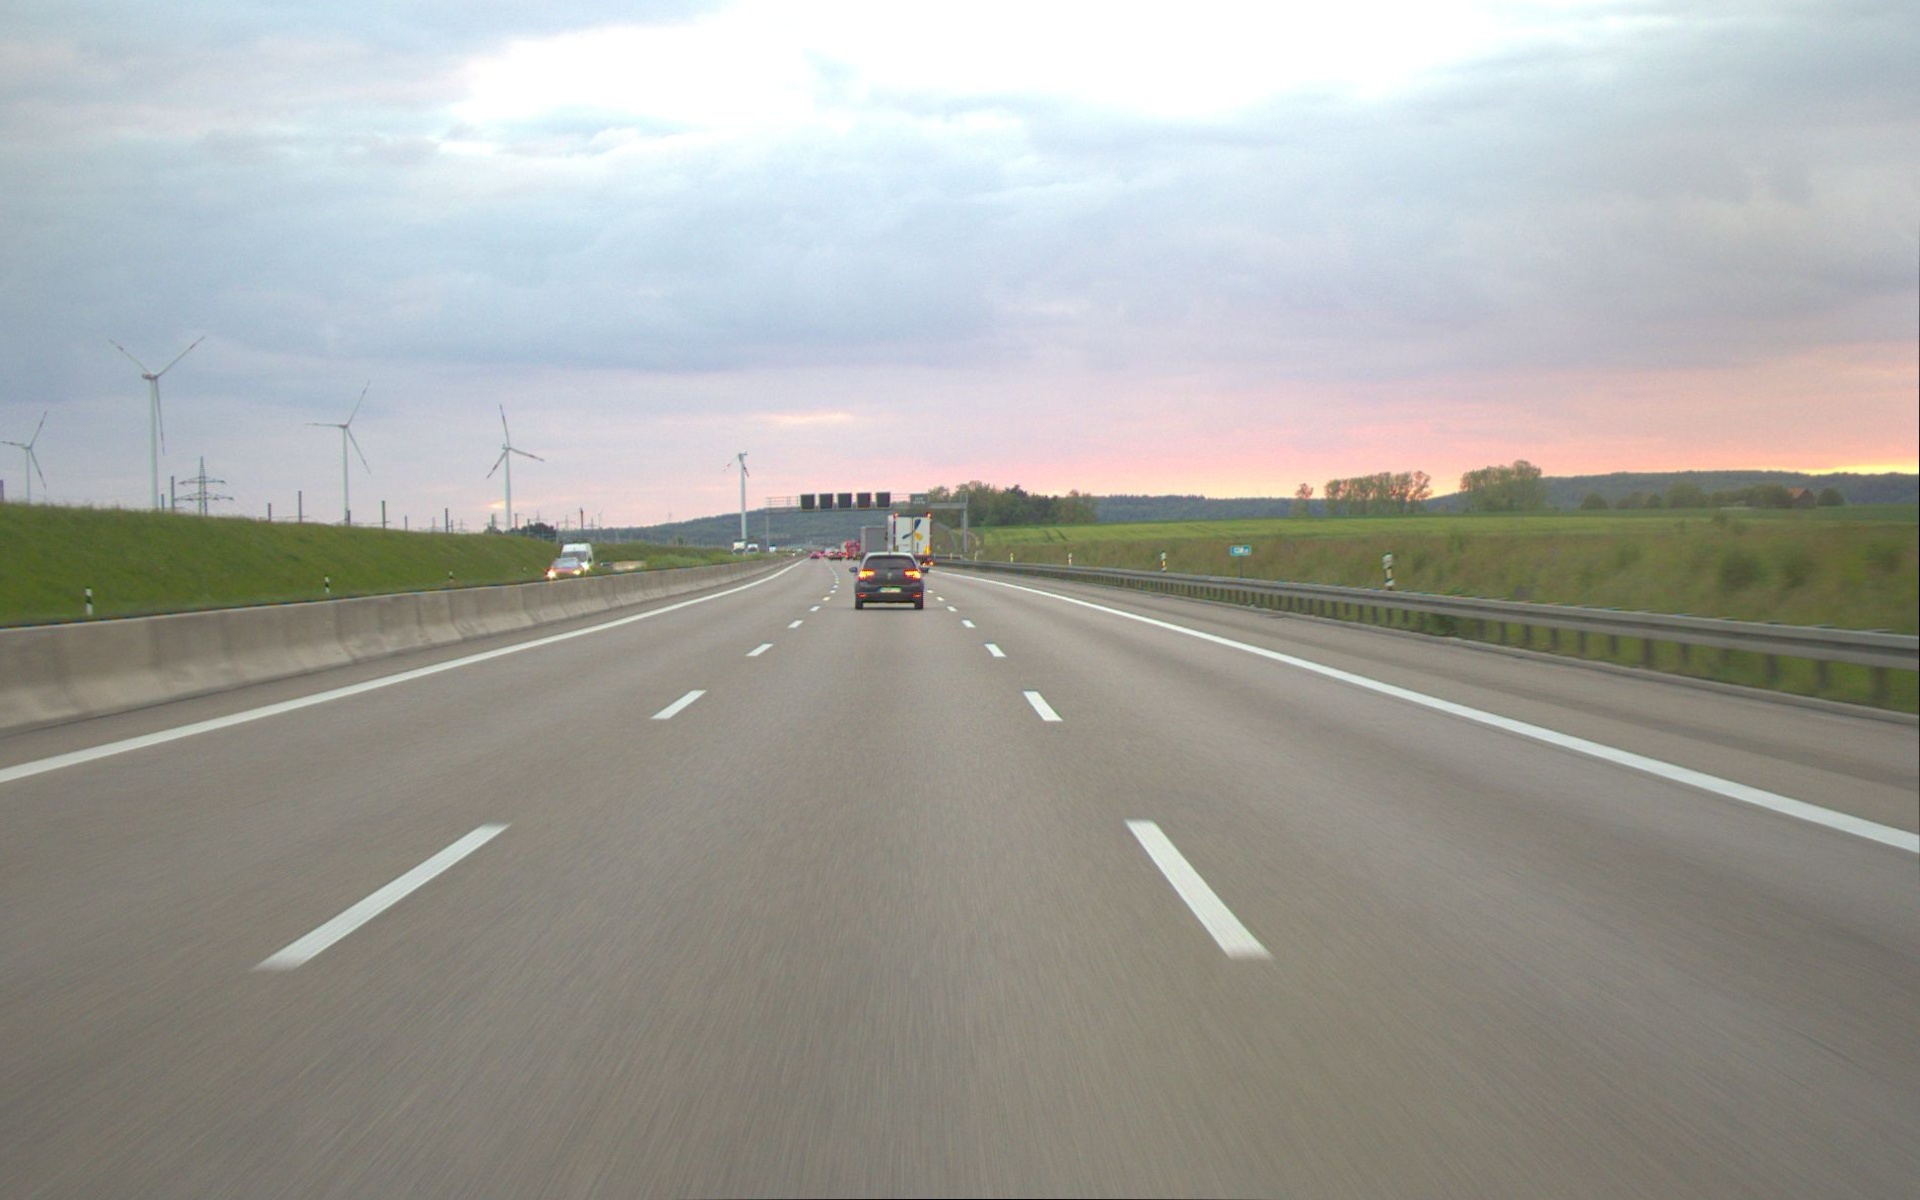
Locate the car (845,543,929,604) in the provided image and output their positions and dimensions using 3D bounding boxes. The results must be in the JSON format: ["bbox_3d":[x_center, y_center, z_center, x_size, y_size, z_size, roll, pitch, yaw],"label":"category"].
[{"bbox_3d":[-1.826,-0.686,87.201,1.987,1.425,4.000,-1,1,0],"label":"car"}]

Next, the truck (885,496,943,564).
[{"bbox_3d":[-3.235,-4.883,239.591,3.675,4.549,10.982,-1,1,-2],"label":"truck"}]

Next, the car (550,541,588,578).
[{"bbox_3d":[-27.516,-2.856,242.154,1.993,2.538,7.378,-1,1,-1],"label":"car"}]
